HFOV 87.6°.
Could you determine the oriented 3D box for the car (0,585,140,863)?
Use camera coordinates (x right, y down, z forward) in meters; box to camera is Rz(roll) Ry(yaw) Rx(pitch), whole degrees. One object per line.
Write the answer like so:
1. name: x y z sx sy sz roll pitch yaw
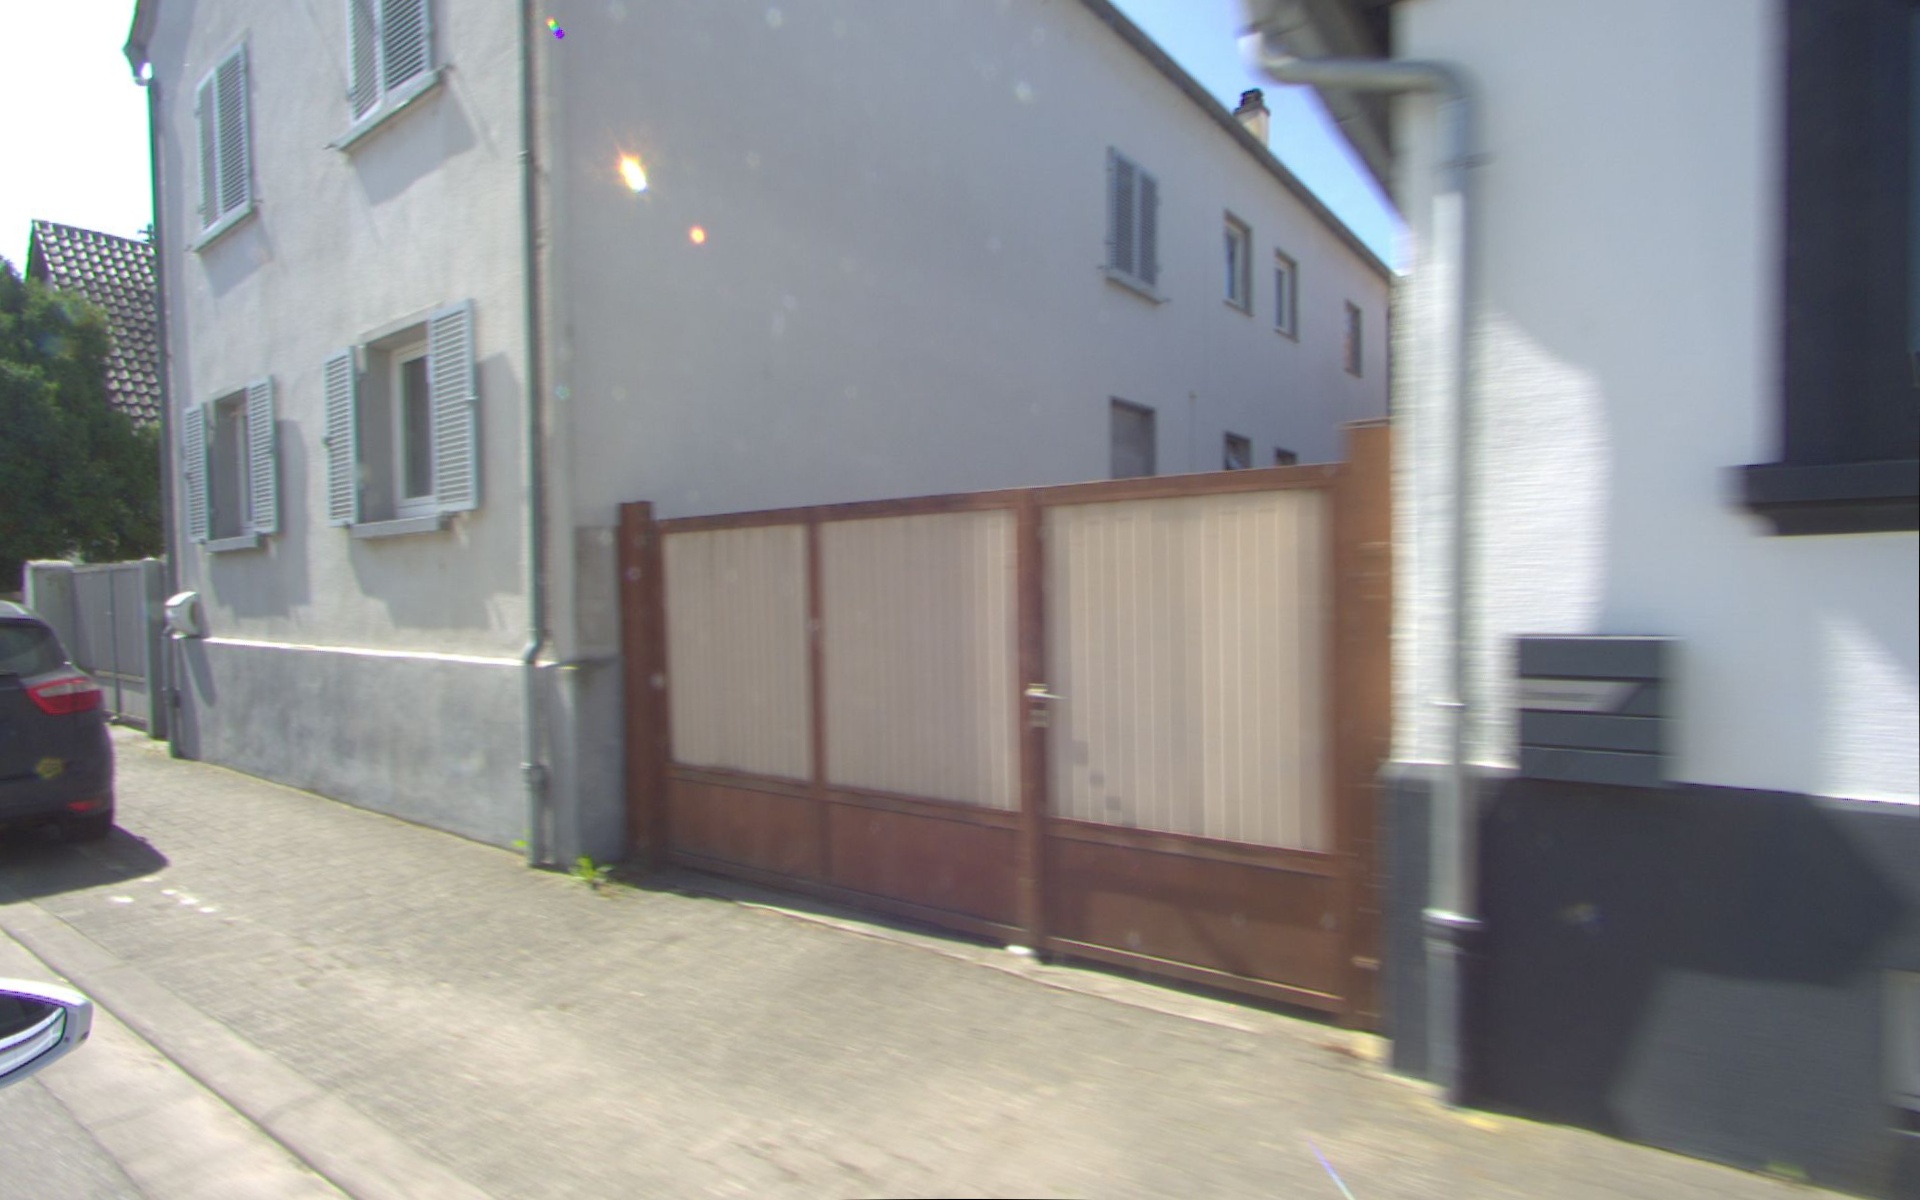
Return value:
1. car: -7.452 0.730 6.884 4.572 1.581 1.791 0 1 37
